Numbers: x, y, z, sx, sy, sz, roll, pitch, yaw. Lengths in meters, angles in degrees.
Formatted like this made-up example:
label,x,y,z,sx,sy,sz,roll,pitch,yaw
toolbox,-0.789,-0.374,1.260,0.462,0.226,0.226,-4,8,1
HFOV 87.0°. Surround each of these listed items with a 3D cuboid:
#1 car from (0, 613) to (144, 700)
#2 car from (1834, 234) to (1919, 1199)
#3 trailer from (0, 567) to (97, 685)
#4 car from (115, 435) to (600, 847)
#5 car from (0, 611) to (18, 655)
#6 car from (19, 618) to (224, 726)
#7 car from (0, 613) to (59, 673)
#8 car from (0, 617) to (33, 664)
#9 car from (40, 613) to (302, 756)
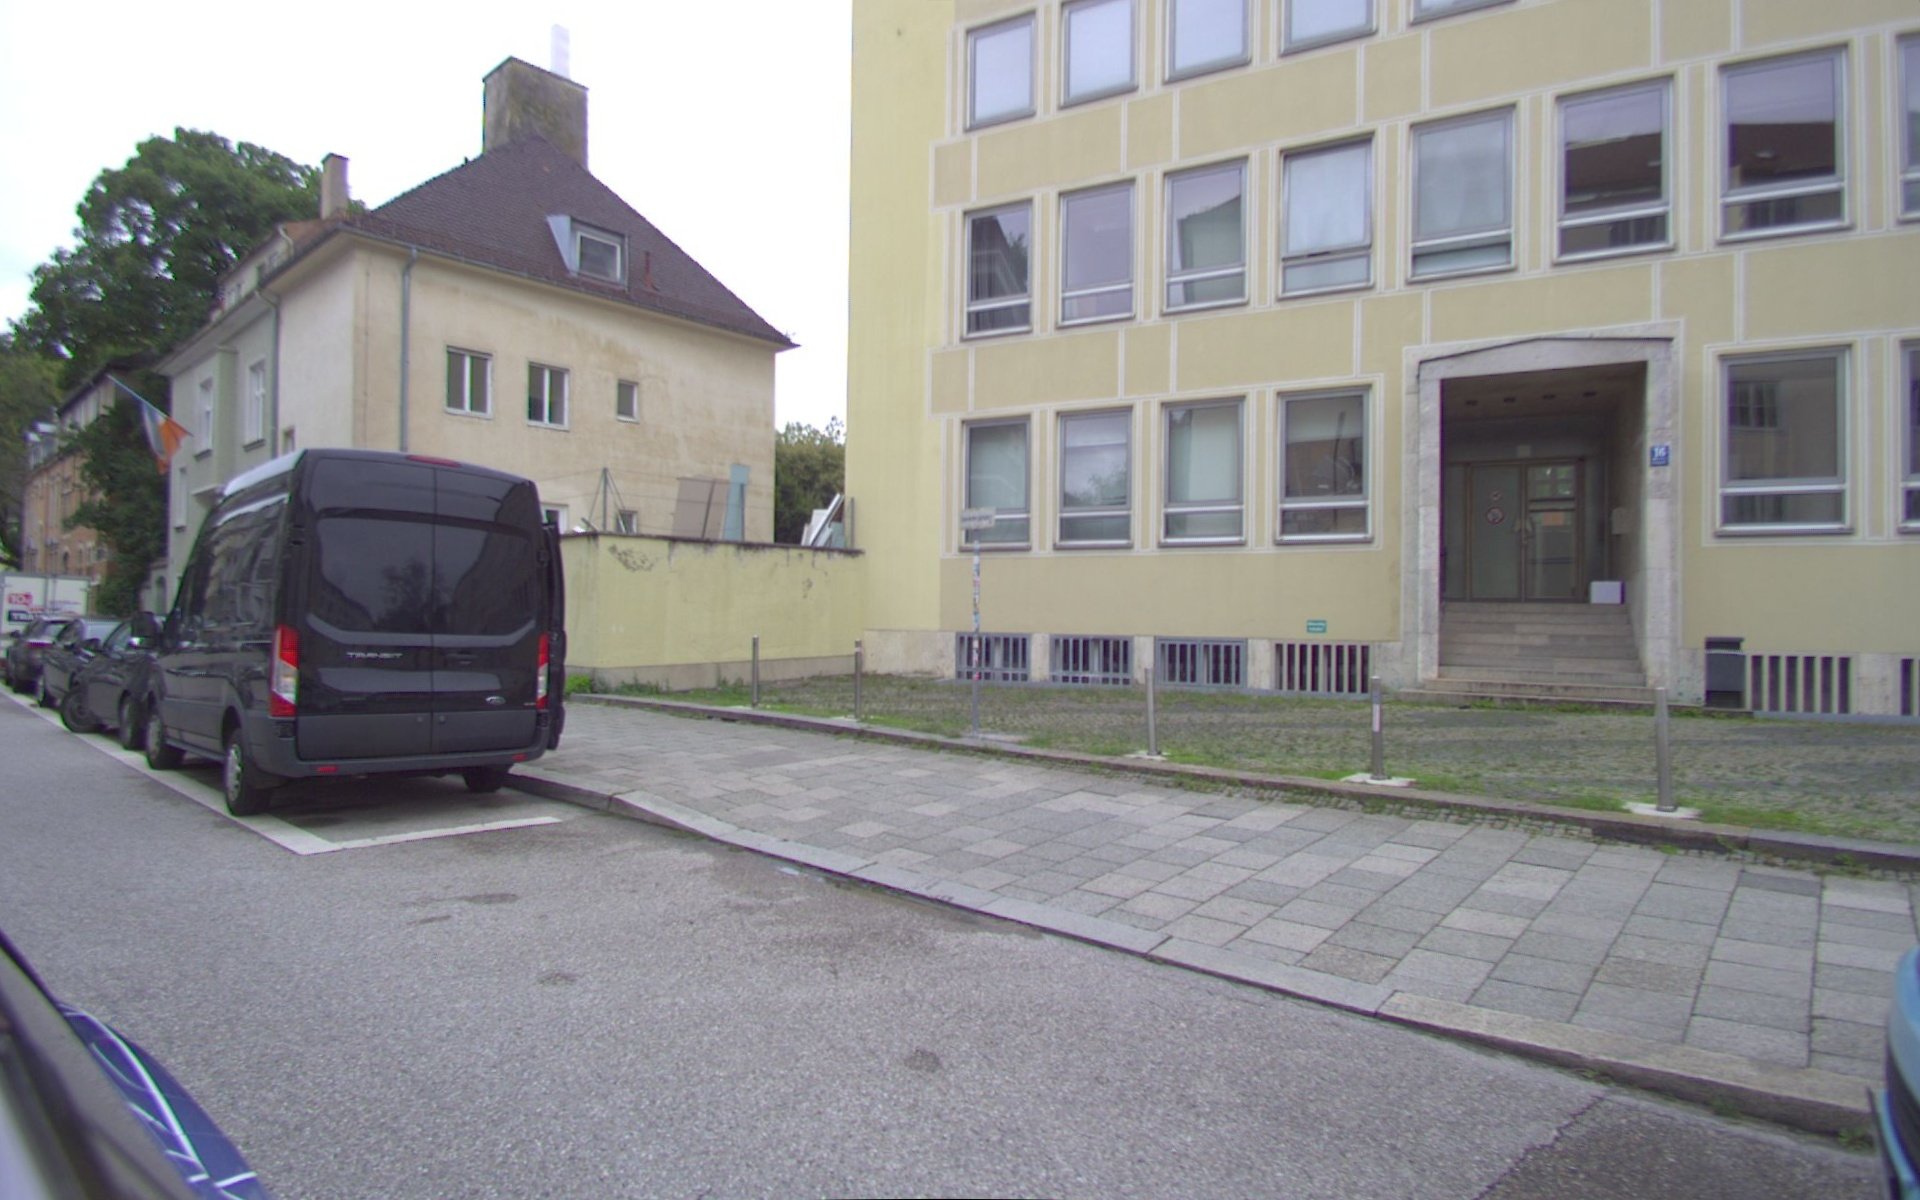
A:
label,x,y,z,sx,sy,sz,roll,pitch,yaw
car,-17.733,1.040,20.041,4.644,1.511,1.793,0,-2,43
car,3.802,0.498,0.480,5.016,1.994,1.909,0,-2,39
trailer,-21.816,0.616,23.927,1.792,2.555,3.392,6,-4,-43
car,-5.800,0.326,9.323,5.653,2.666,2.272,-1,-3,43
car,-34.324,1.128,35.249,3.926,1.463,1.794,0,-1,41
car,-13.117,1.028,15.758,4.066,1.436,1.676,0,-2,39
car,-25.868,1.119,27.422,3.841,1.525,1.744,0,-2,42
car,-29.752,1.201,30.956,3.746,1.357,1.793,0,-1,43
car,-9.754,0.916,12.451,3.484,1.505,1.686,0,-1,37
